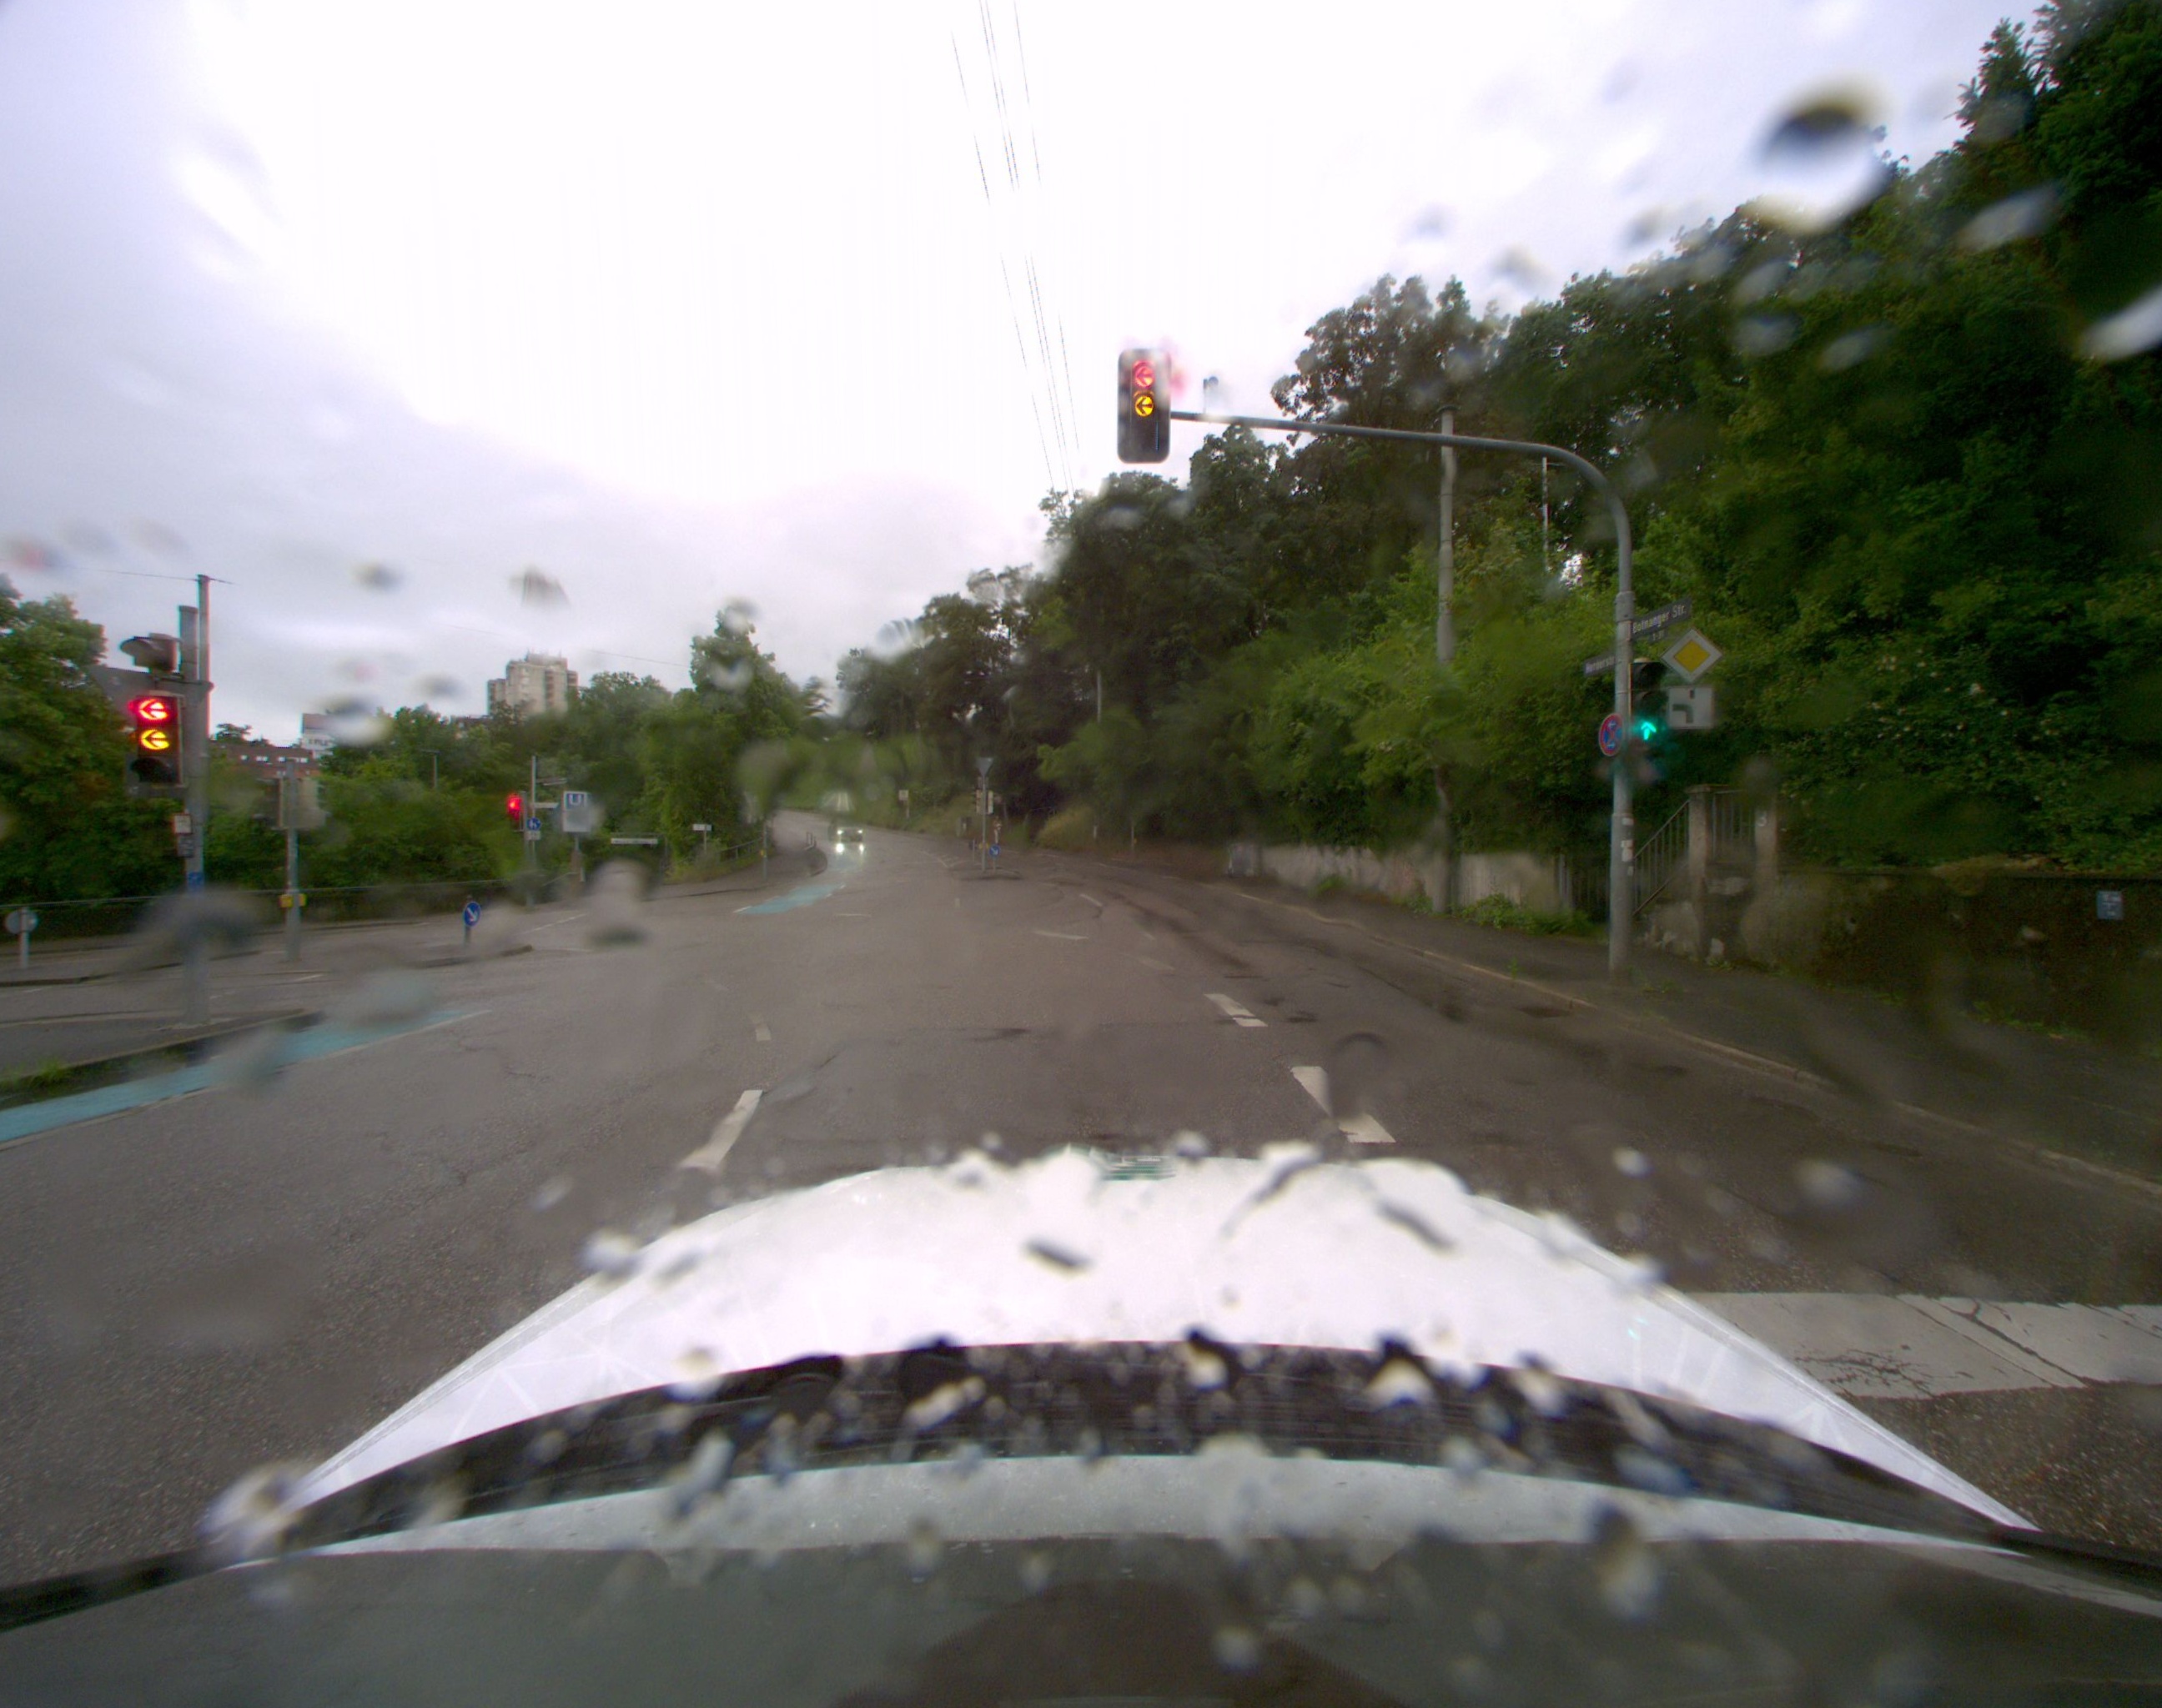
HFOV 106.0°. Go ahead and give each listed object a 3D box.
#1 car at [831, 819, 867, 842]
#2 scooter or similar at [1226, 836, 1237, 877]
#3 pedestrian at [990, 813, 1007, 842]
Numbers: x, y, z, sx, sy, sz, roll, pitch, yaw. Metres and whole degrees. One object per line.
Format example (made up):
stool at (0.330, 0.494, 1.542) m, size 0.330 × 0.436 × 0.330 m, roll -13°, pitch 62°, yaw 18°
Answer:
car at (-16.316, -1.678, 57.152) m, size 1.964 × 1.511 × 4.372 m, roll 0°, pitch 3°, yaw -22°
scooter or similar at (4.900, 0.068, 26.501) m, size 0.320 × 1.279 × 0.754 m, roll -1°, pitch 2°, yaw 10°
pedestrian at (-5.043, -1.634, 49.820) m, size 0.882 × 1.736 × 0.861 m, roll 0°, pitch -1°, yaw -15°
